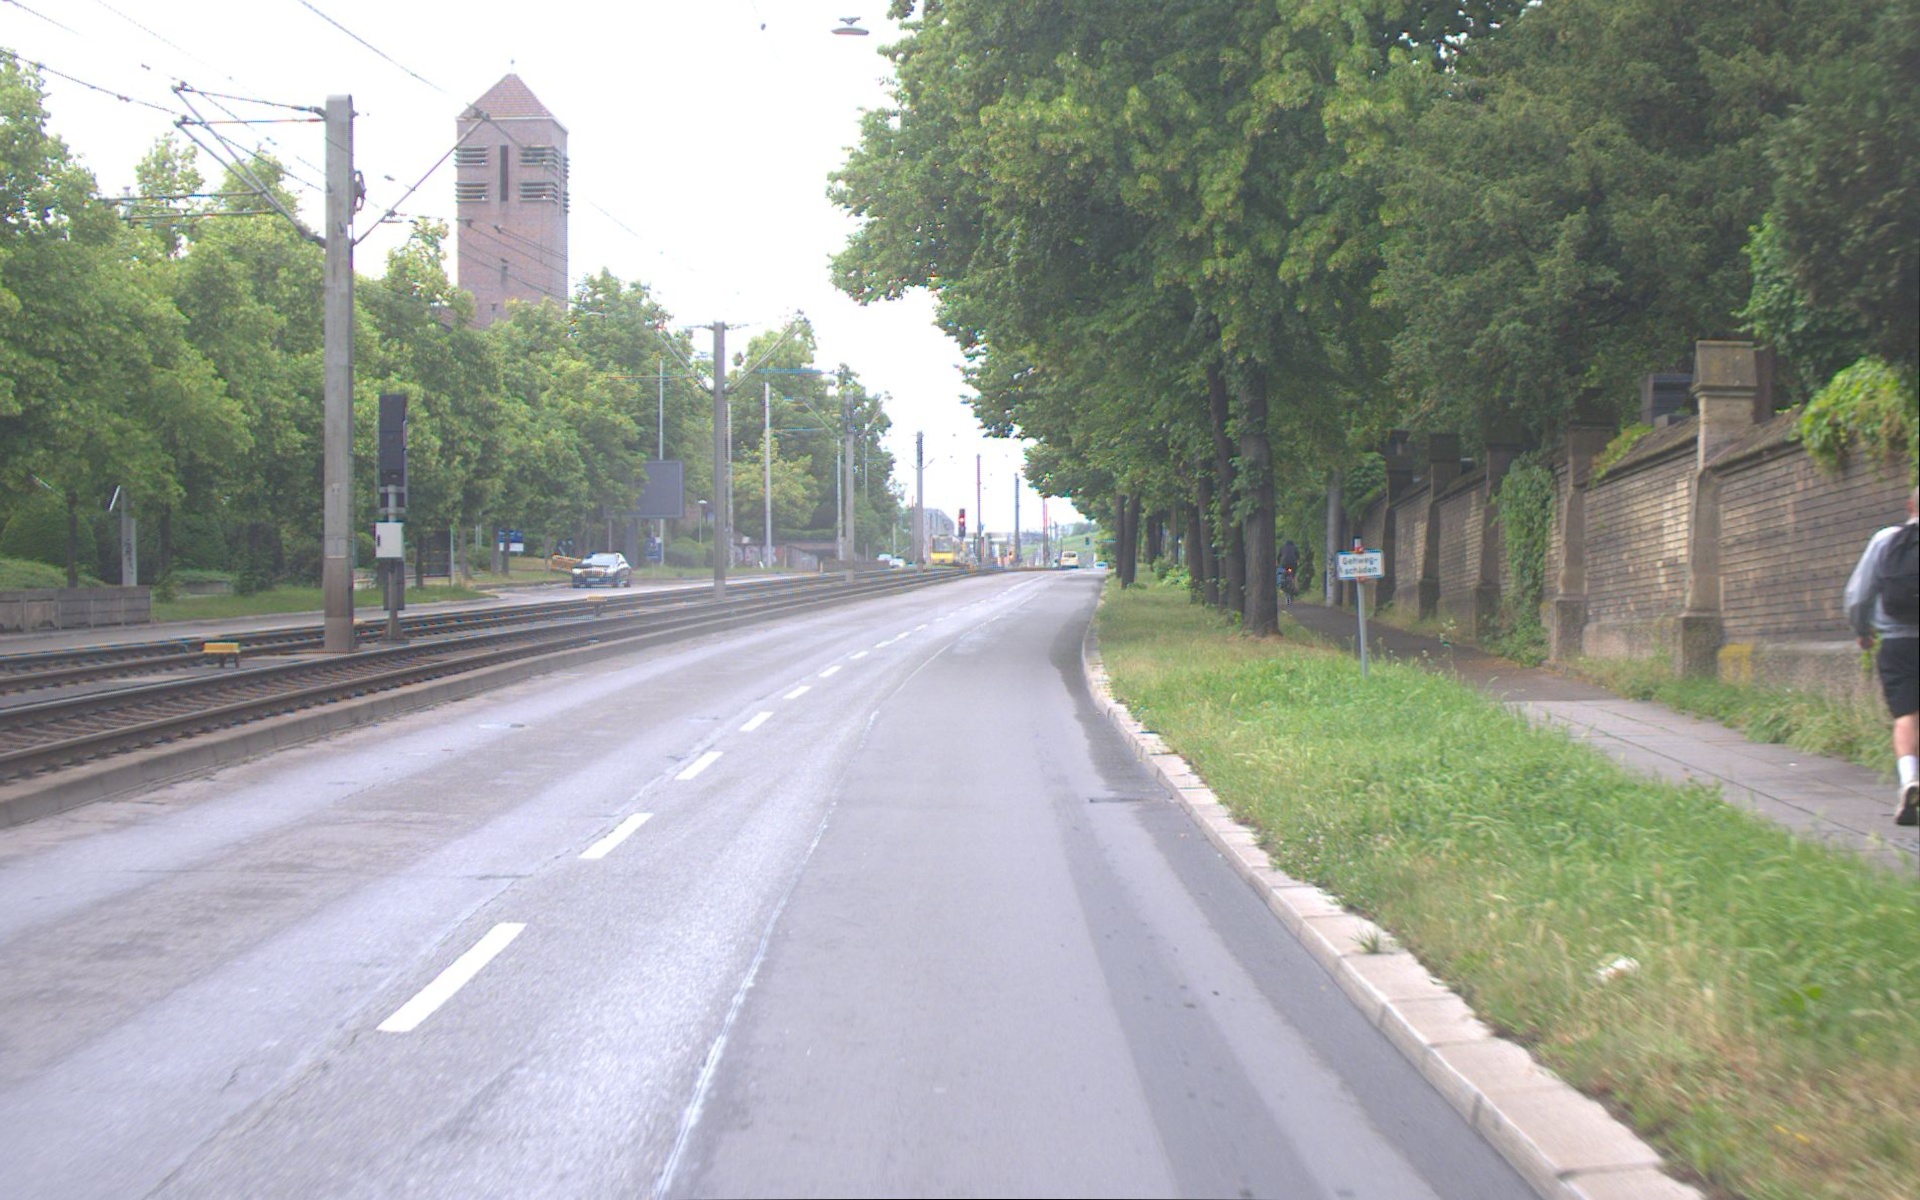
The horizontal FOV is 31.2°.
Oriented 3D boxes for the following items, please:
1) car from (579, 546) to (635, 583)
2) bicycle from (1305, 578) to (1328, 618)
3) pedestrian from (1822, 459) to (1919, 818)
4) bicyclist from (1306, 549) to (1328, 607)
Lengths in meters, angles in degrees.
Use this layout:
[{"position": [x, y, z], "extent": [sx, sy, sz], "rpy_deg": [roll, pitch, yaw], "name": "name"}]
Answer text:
[{"position": [-14.866, -1.519, 144.851], "extent": [1.794, 1.525, 4.622], "rpy_deg": [0, 1, 1], "name": "car"}, {"position": [8.617, -0.047, 83.022], "extent": [0.543, 0.945, 2.549], "rpy_deg": [0, 1, 6], "name": "bicycle"}, {"position": [4.867, 0.187, 17.493], "extent": [0.708, 1.773, 0.901], "rpy_deg": [1, 1, 0], "name": "pedestrian"}, {"position": [8.646, -0.530, 83.219], "extent": [0.535, 1.385, 0.666], "rpy_deg": [0, 0, 6], "name": "bicyclist"}]
